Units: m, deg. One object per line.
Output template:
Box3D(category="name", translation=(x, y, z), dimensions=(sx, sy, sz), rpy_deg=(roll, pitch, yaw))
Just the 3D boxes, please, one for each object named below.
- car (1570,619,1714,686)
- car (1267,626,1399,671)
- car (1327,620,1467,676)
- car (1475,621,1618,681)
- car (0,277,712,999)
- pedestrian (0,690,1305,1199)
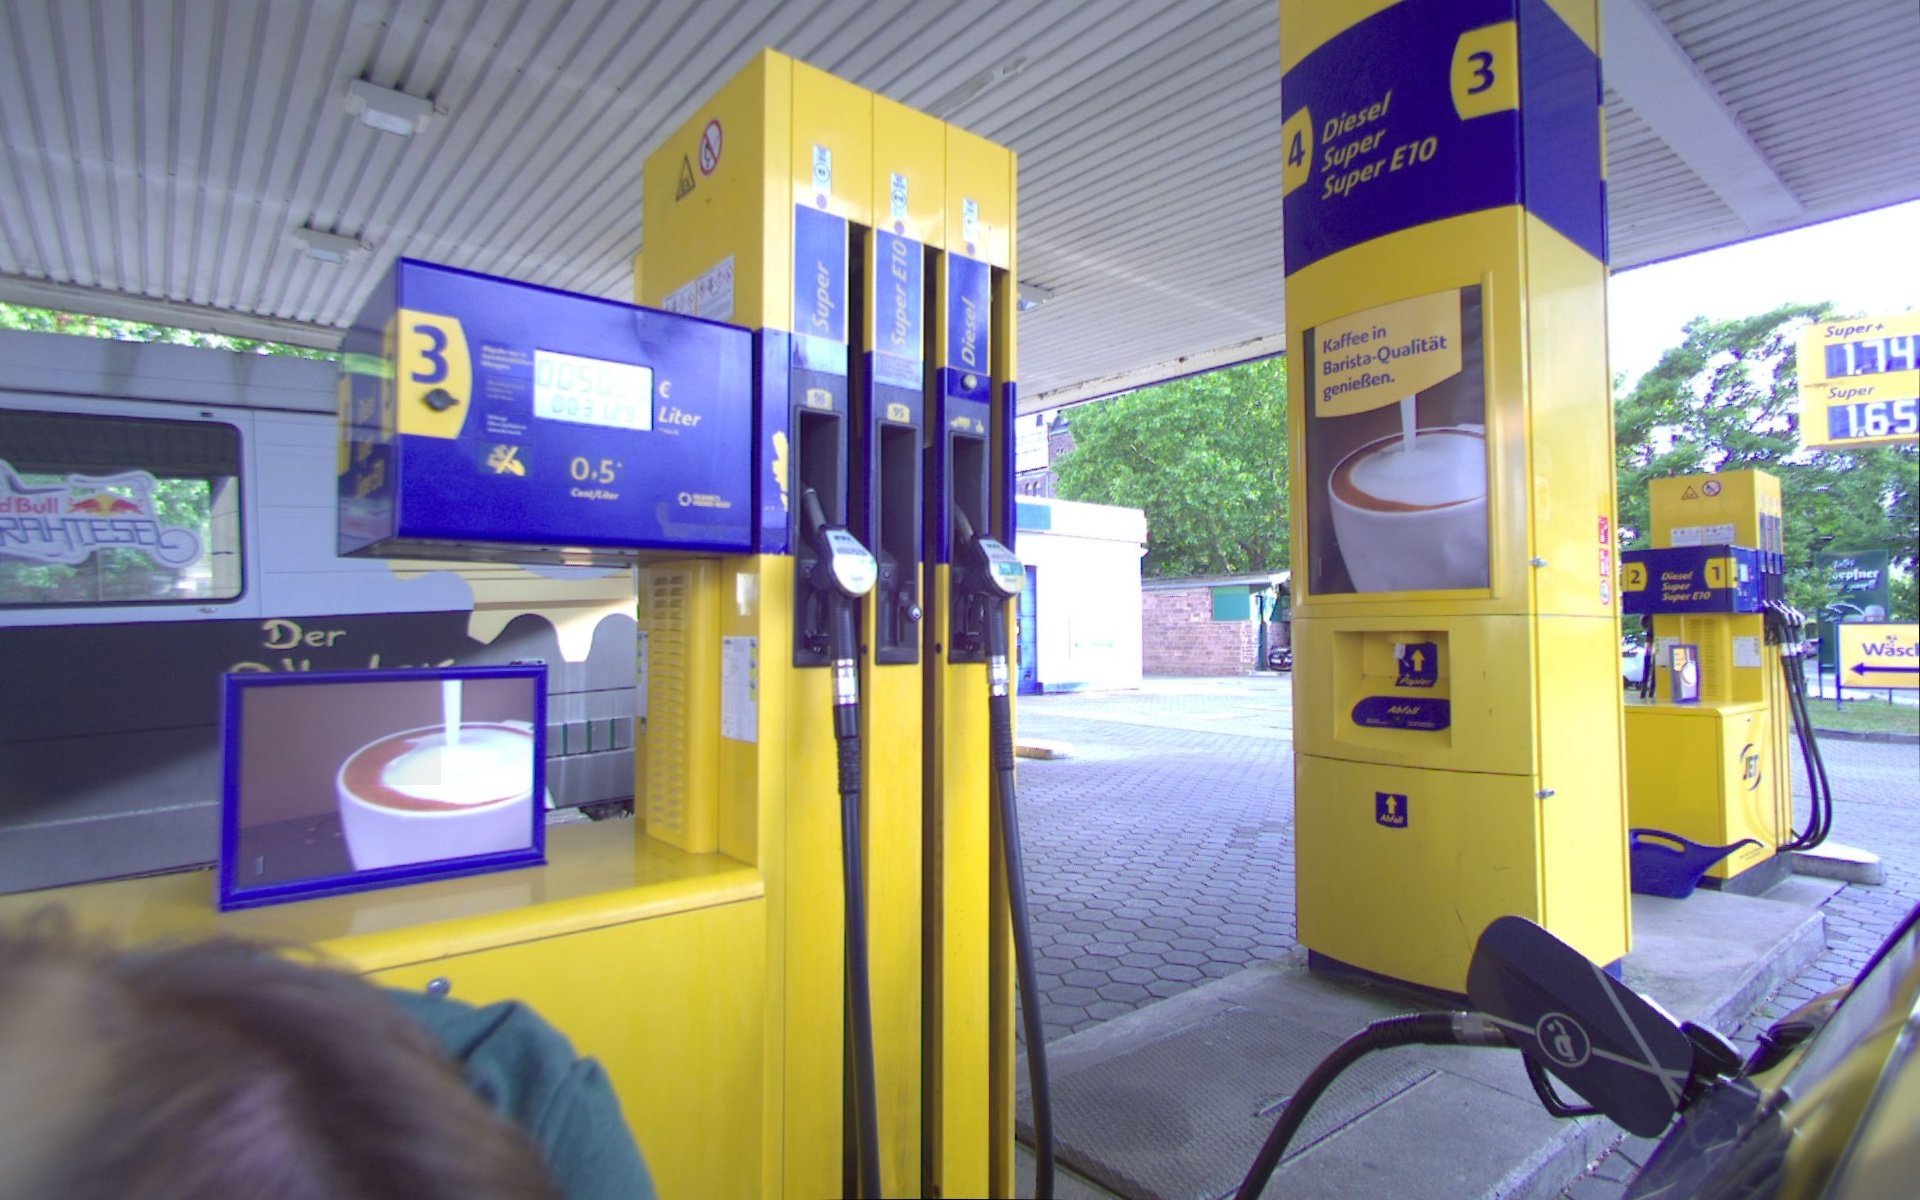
Box3D(category="car", translation=(18.366, 1.436, 27.203), dimensions=(4.308, 1.622, 1.774), rpy_deg=(4, -4, -35))
Box3D(category="car", translation=(12.700, 1.644, 34.429), dimensions=(4.303, 1.393, 1.777), rpy_deg=(2, -1, -28))
Box3D(category="car", translation=(13.897, 1.521, 32.137), dimensions=(4.303, 1.622, 1.777), rpy_deg=(2, -1, -28))
Box3D(category="car", translation=(17.856, 1.579, 30.802), dimensions=(4.303, 1.622, 1.776), rpy_deg=(4, -4, -28))
Box3D(category="car", translation=(-4.100, 0.160, 4.894), dimensions=(5.197, 2.726, 2.258), rpy_deg=(1, -2, -39))
Box3D(category="pedestrian", translation=(-0.325, 0.748, 0.547), dimensions=(0.662, 1.298, 0.751), rpy_deg=(0, 0, -41))
